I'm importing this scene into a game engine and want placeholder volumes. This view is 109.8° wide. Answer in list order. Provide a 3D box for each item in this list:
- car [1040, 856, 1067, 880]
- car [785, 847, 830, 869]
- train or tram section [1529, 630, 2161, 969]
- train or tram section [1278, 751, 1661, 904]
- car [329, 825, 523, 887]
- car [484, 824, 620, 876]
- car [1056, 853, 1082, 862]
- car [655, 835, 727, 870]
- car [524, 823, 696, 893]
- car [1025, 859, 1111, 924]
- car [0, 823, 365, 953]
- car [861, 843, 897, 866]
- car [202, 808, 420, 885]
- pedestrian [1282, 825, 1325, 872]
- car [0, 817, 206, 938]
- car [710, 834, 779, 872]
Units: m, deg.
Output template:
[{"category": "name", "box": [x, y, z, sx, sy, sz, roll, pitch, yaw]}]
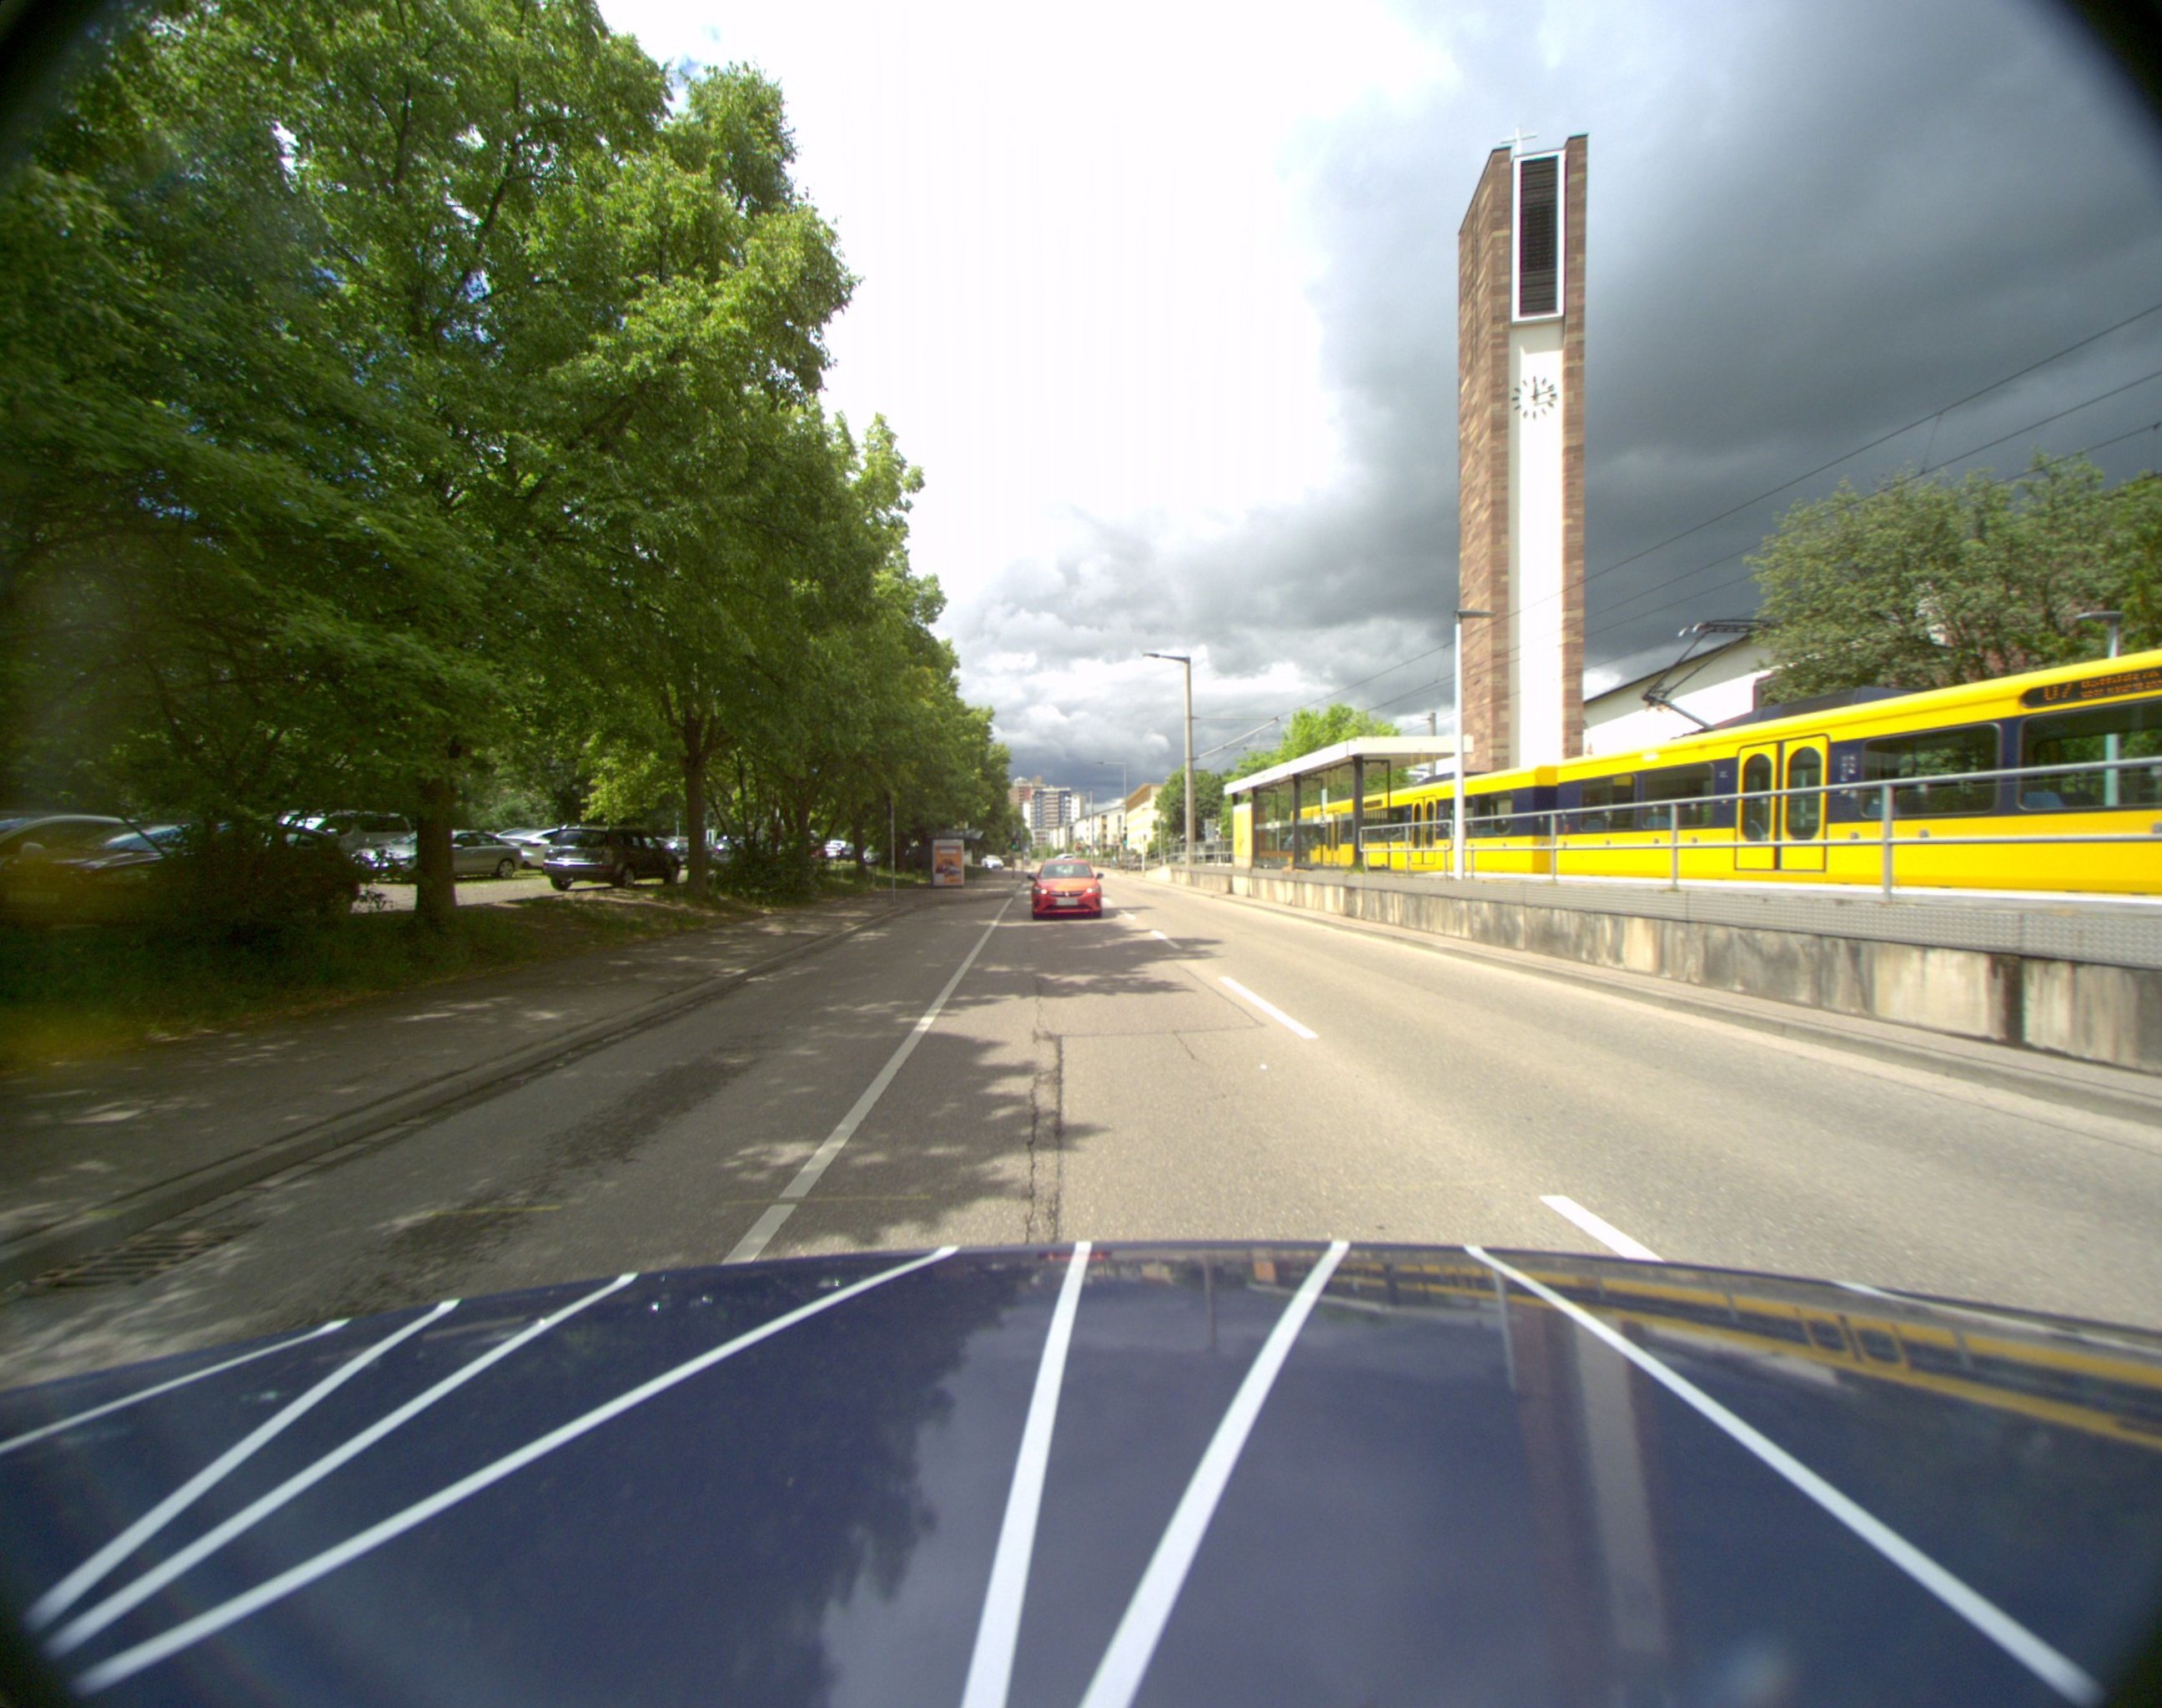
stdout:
[{"category": "car", "box": [-1.859, 0.906, 50.744, 1.499, 1.477, 3.518, 0, 0, -7]}, {"category": "car", "box": [-19.740, 0.259, 54.973, 1.757, 1.469, 4.543, 2, 0, -3]}, {"category": "train or tram section", "box": [12.521, -0.611, 8.277, 3.116, 3.444, 18.990, -2, 0, -3]}, {"category": "train or tram section", "box": [11.550, -0.650, 27.184, 3.116, 3.444, 18.819, -2, 0, -3]}, {"category": "car", "box": [-17.537, 0.044, 20.669, 1.617, 1.433, 4.351, 2, 0, -3]}, {"category": "car", "box": [-17.754, -0.089, 25.779, 1.473, 1.546, 4.431, 3, -1, -1]}, {"category": "car", "box": [-1.998, 0.627, 128.859, 4.148, 1.286, 1.627, 3, 0, -39]}, {"category": "car", "box": [-18.683, -0.096, 36.600, 1.692, 1.484, 3.791, 3, 2, -4]}, {"category": "car", "box": [-12.542, 0.087, 20.671, 1.852, 1.652, 4.722, -1, 0, -2]}, {"category": "car", "box": [-0.452, 0.887, 19.881, 1.784, 1.433, 4.128, -2, 0, -7]}, {"category": "car", "box": [-11.931, 0.373, 10.133, 1.614, 1.405, 3.815, 1, 0, -10]}, {"category": "car", "box": [-14.497, 0.049, 54.723, 1.631, 1.505, 4.137, 3, 0, -3]}, {"category": "car", "box": [-20.295, -0.180, 20.329, 1.617, 1.780, 4.206, 3, 0, -3]}, {"category": "pedestrian", "box": [5.741, -0.148, 19.653, 0.798, 1.180, 0.919, 1, 0, -4]}, {"category": "car", "box": [-14.348, 0.266, 9.912, 1.697, 1.499, 3.621, 2, 0, -2]}, {"category": "car", "box": [-16.454, -0.098, 37.381, 1.692, 1.685, 4.259, 3, 2, -4]}]
